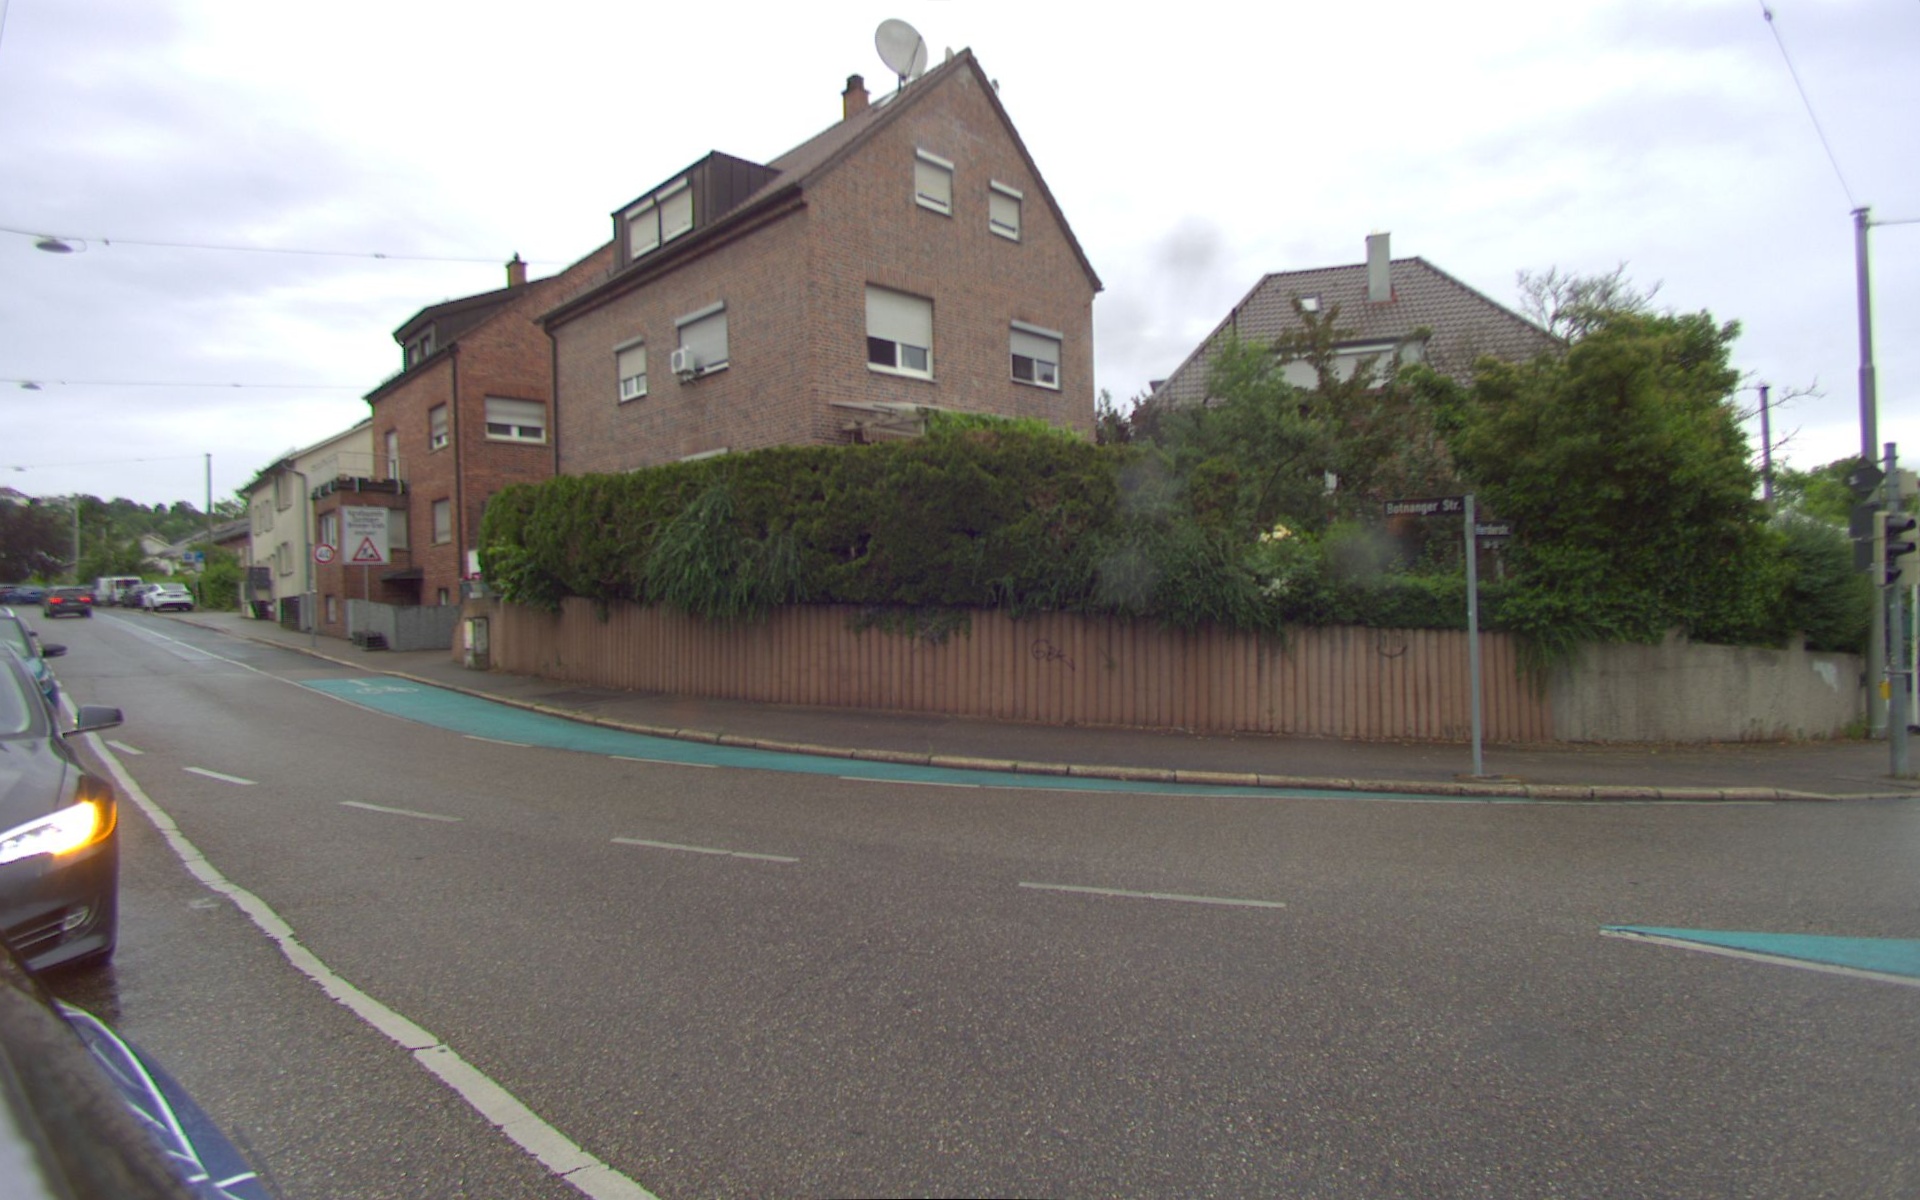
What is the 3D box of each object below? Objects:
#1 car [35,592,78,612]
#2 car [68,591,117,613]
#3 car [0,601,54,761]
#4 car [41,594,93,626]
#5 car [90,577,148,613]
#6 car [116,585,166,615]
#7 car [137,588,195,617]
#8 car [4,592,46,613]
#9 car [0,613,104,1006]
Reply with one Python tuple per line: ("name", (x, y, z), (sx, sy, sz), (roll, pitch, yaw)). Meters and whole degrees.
("car", (-66.956, 0.140, 74.991), (3.854, 1.407, 1.635), (-1, 2, 36))
("car", (-61.280, 0.159, 71.456), (4.002, 1.501, 1.636), (-1, 2, 34))
("car", (-11.268, 0.810, 11.107), (3.785, 1.601, 1.765), (0, 0, 45))
("car", (-49.317, 0.546, 55.872), (4.175, 1.693, 1.827), (1, -1, 45))
("car", (-57.017, -0.325, 68.570), (4.544, 2.303, 2.229), (0, 2, 41))
("car", (-52.370, -0.015, 64.713), (4.262, 1.817, 1.791), (0, 2, 42))
("car", (-46.420, 0.157, 59.120), (4.262, 1.577, 1.921), (0, 2, 42))
("car", (-71.304, 0.184, 77.141), (3.895, 1.501, 1.605), (-1, 2, 36))
("car", (-5.431, 0.802, 4.736), (4.002, 1.426, 1.845), (0, 0, 45))
